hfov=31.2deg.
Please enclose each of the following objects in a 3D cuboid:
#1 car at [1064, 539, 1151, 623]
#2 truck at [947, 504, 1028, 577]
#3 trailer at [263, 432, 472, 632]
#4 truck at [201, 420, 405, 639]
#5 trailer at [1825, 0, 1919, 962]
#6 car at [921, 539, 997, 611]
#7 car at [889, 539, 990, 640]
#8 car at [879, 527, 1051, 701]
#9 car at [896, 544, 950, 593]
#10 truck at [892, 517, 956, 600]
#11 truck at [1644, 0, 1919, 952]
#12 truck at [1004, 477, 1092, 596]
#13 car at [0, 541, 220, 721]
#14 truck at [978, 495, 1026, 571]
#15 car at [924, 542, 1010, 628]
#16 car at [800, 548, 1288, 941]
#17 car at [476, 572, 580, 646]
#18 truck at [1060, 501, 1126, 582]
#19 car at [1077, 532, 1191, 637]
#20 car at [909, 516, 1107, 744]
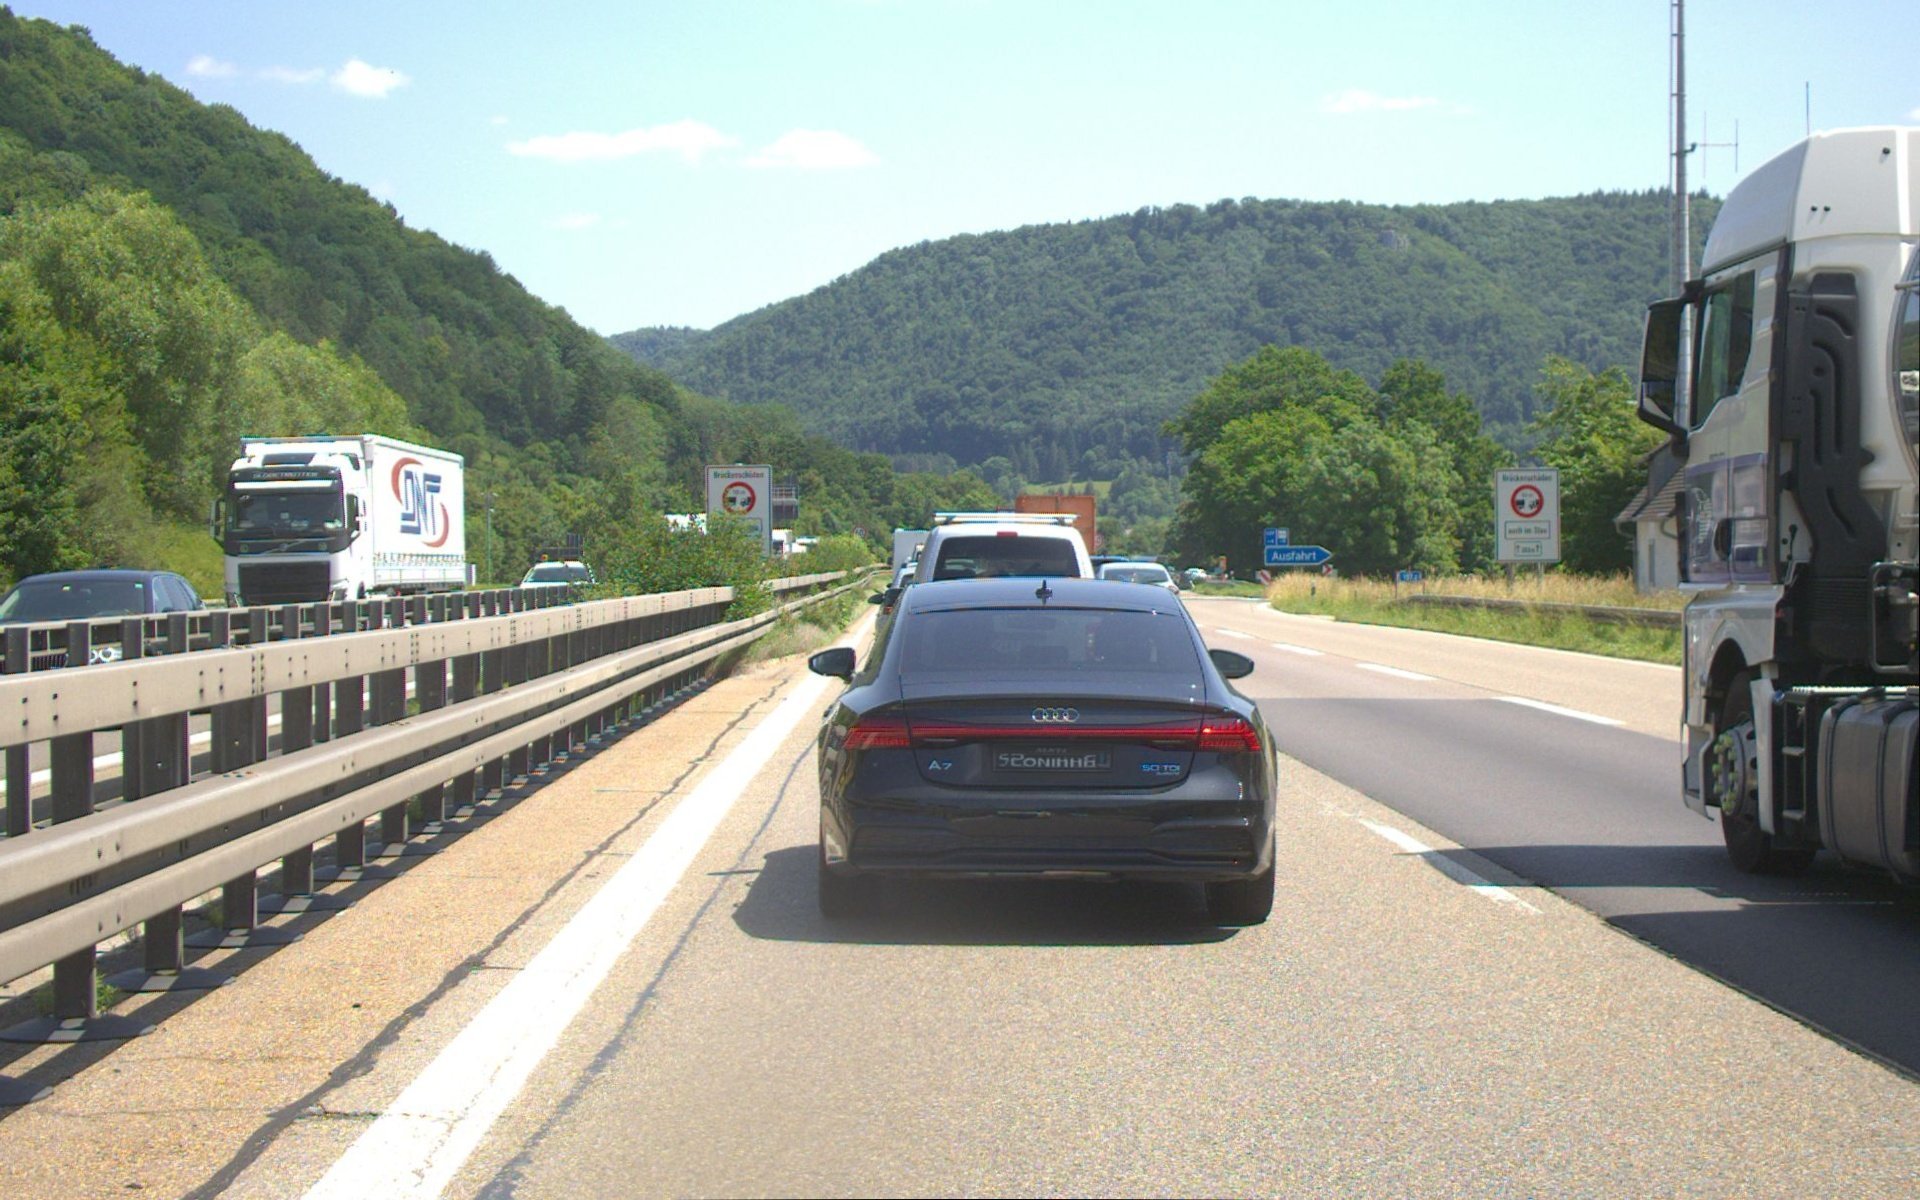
[{"bbox_3d":[3.563,-0.464,83.784,1.993,1.996,4.000,0,1,1],"label":"car"},{"bbox_3d":[1.798,-3.693,214.128,3.794,4.399,14.952,0,1,5],"label":"truck"},{"bbox_3d":[-12.999,-1.457,76.400,2.856,4.062,11.264,1,1,-1],"label":"trailer"},{"bbox_3d":[-12.877,-1.364,67.817,2.909,4.088,5.848,1,1,0],"label":"truck"},{"bbox_3d":[5.061,-0.411,8.550,2.538,3.723,11.892,1,1,-1],"label":"trailer"},{"bbox_3d":[0.000,-0.582,79.459,1.712,1.613,4.000,0,1,1],"label":"car"},{"bbox_3d":[-0.444,-0.238,70.455,1.993,2.007,4.000,0,1,-1],"label":"car"},{"bbox_3d":[0.035,0.144,42.164,1.993,2.007,4.000,1,1,-1],"label":"car"},{"bbox_3d":[-1.238,-1.074,116.361,1.712,1.613,4.000,0,1,1],"label":"car"},{"bbox_3d":[-1.504,-1.766,147.364,2.628,3.429,11.421,0,1,0],"label":"truck"},{"bbox_3d":[4.928,-0.525,15.455,2.511,3.746,5.246,1,1,-1],"label":"truck"},{"bbox_3d":[3.098,-2.239,124.387,2.817,3.989,14.955,1,1,0],"label":"truck"},{"bbox_3d":[-8.429,0.236,32.828,1.845,1.590,4.752,0,1,-2],"label":"car"},{"bbox_3d":[1.936,-3.080,161.204,1.993,3.435,11.811,1,1,0],"label":"truck"},{"bbox_3d":[0.142,-0.376,83.071,1.993,2.007,4.000,0,1,-1],"label":"car"},{"bbox_3d":[0.231,0.532,15.181,1.849,1.483,4.083,1,1,-3],"label":"car"},{"bbox_3d":[-9.262,0.178,73.997,1.747,1.513,4.000,1,1,-1],"label":"car"},{"bbox_3d":[6.789,-2.956,177.356,2.817,3.989,14.955,1,1,0],"label":"truck"},{"bbox_3d":[3.388,-0.327,67.634,1.993,2.007,4.000,0,1,-1],"label":"car"},{"bbox_3d":[0.365,0.225,29.840,1.576,1.827,4.000,1,1,-1],"label":"car"}]
